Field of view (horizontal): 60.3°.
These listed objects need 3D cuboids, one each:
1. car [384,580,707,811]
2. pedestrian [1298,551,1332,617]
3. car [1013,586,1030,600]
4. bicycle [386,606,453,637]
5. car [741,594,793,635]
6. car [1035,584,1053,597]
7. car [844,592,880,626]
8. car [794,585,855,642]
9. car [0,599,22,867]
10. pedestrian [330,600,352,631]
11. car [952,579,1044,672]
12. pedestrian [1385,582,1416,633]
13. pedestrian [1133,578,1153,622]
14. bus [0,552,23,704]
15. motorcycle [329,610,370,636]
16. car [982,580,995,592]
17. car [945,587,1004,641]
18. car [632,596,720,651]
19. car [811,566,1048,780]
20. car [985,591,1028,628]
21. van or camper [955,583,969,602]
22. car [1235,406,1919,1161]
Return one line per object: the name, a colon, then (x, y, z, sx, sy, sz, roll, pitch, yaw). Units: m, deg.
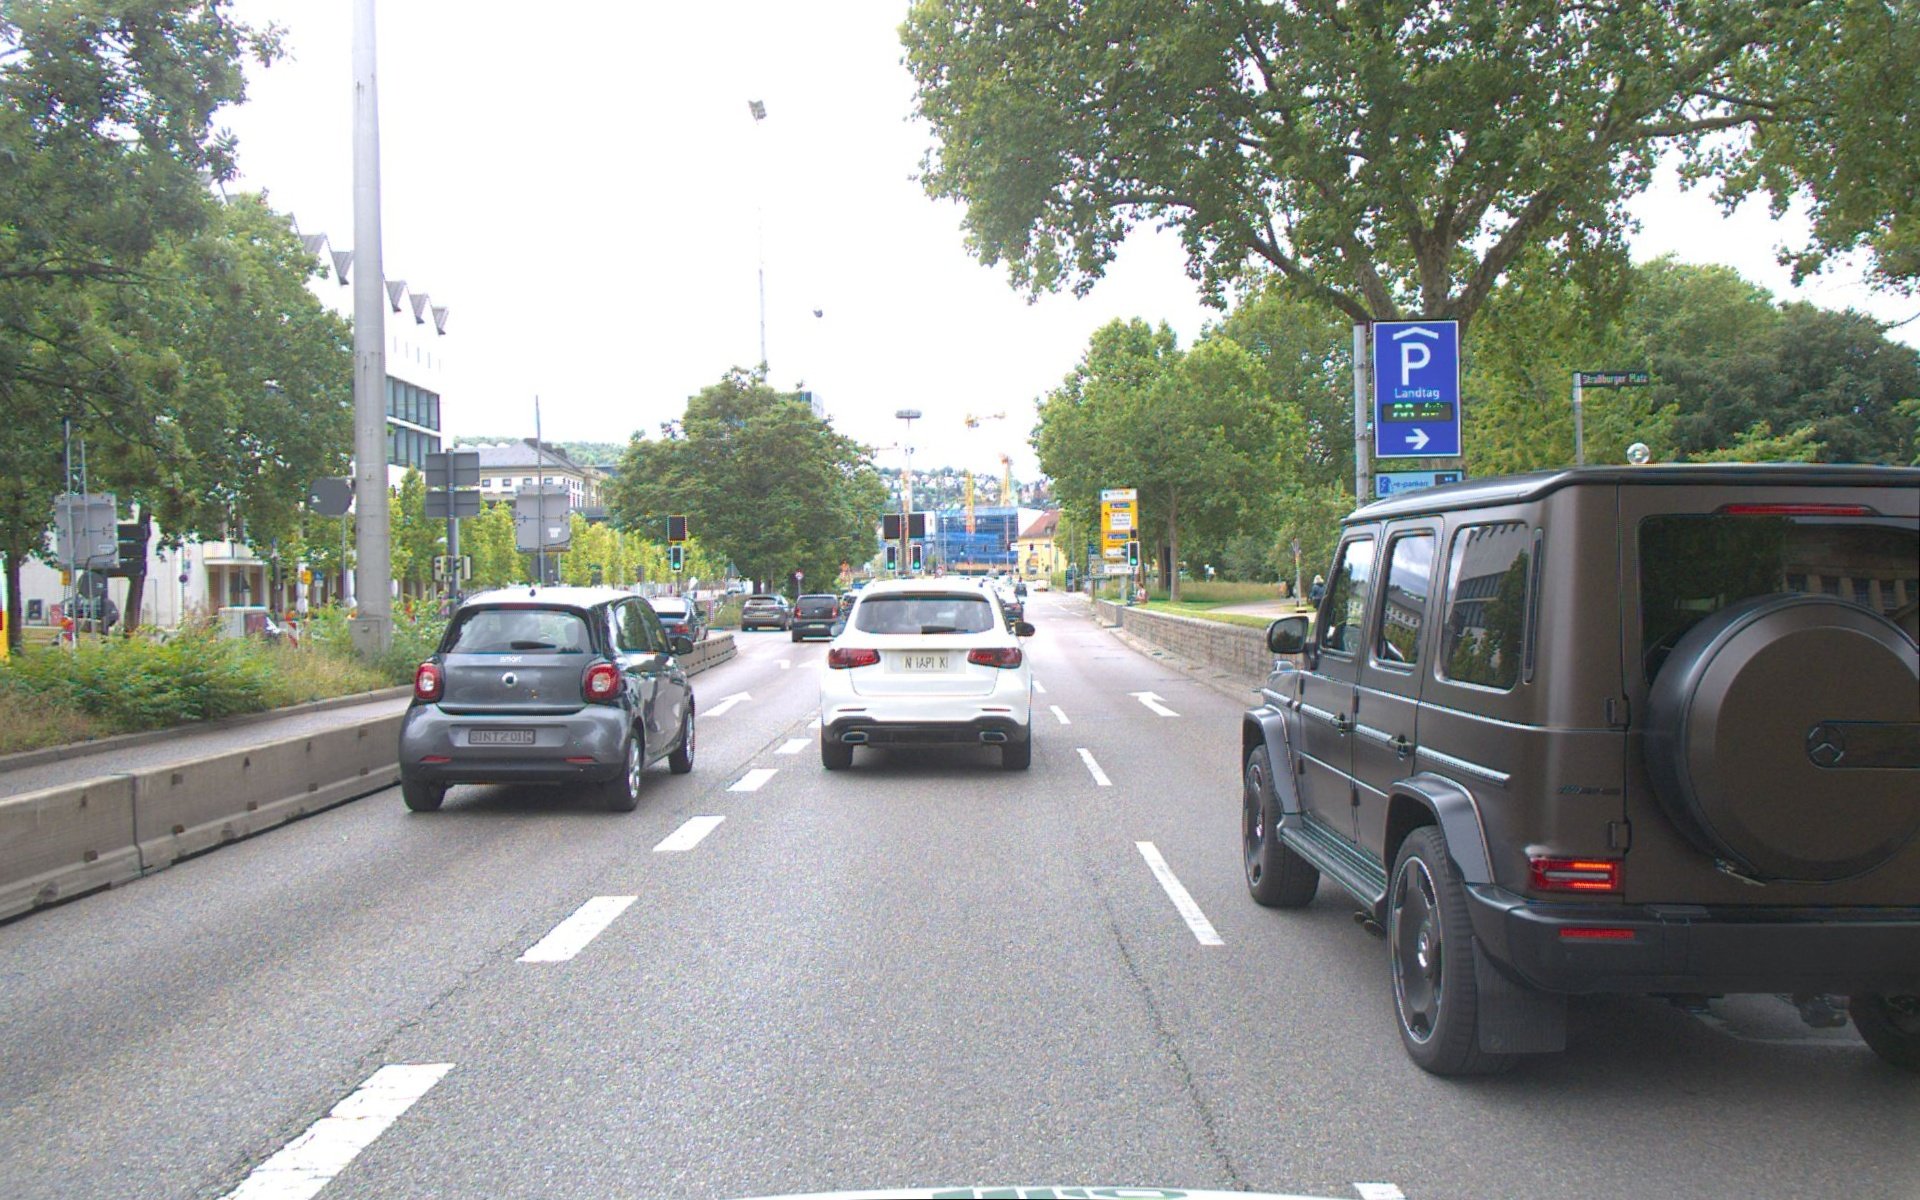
car: (-3.024, 0.651, 12.769, 1.594, 1.535, 3.539, 0, -1, 0)
pedestrian: (11.150, -0.489, 51.925, 0.839, 2.049, 0.815, 1, -2, -2)
car: (7.248, -0.851, 195.630, 1.684, 1.612, 3.999, 1, 0, -2)
bicycle: (-32.224, 1.252, 98.685, 3.540, 1.713, 1.182, -2, 0, -1)
car: (-7.910, 0.578, 68.176, 1.717, 1.580, 3.999, 1, 0, -1)
car: (11.357, -1.257, 223.558, 1.954, 1.646, 3.996, 1, -1, -5)
car: (-4.865, 0.437, 82.217, 1.684, 1.612, 3.998, 1, 0, -3)
car: (-4.265, 0.418, 52.503, 1.684, 1.708, 3.999, 1, 0, -2)
car: (-6.181, 0.724, 6.949, 1.775, 1.486, 4.861, 0, -1, -1)
pedestrian: (-32.235, 0.793, 86.134, 0.875, 1.584, 0.589, -1, 0, -43)
car: (0.711, 0.493, 31.871, 1.638, 1.656, 4.000, 1, -1, 1)
pedestrian: (13.815, 0.232, 51.877, 0.770, 1.553, 0.683, 1, -1, 1)
pedestrian: (7.086, -0.010, 64.170, 0.683, 1.685, 0.684, 1, -1, -1)
bus: (-22.549, 0.650, 33.422, 2.863, 3.361, 7.705, -1, 0, -1)
motorcycle: (-30.965, 1.148, 83.914, 1.860, 1.255, 0.653, -1, -2, -25)
car: (4.059, -2.029, 237.332, 1.684, 1.612, 3.999, 1, 0, -2)
car: (0.418, 0.427, 52.230, 1.684, 1.612, 3.999, 1, 0, -2)
car: (-7.344, 0.584, 43.093, 1.684, 1.315, 3.999, 1, 0, -2)
car: (-0.270, 0.613, 15.521, 1.901, 1.713, 3.999, 1, -1, -1)
car: (2.074, 0.417, 74.549, 1.684, 1.612, 3.999, 1, 0, -2)
van or camper: (0.257, -0.970, 218.370, 1.883, 2.360, 3.999, 0, -1, -1)
car: (2.535, 0.505, 6.632, 1.938, 1.926, 4.705, 1, -1, -2)
